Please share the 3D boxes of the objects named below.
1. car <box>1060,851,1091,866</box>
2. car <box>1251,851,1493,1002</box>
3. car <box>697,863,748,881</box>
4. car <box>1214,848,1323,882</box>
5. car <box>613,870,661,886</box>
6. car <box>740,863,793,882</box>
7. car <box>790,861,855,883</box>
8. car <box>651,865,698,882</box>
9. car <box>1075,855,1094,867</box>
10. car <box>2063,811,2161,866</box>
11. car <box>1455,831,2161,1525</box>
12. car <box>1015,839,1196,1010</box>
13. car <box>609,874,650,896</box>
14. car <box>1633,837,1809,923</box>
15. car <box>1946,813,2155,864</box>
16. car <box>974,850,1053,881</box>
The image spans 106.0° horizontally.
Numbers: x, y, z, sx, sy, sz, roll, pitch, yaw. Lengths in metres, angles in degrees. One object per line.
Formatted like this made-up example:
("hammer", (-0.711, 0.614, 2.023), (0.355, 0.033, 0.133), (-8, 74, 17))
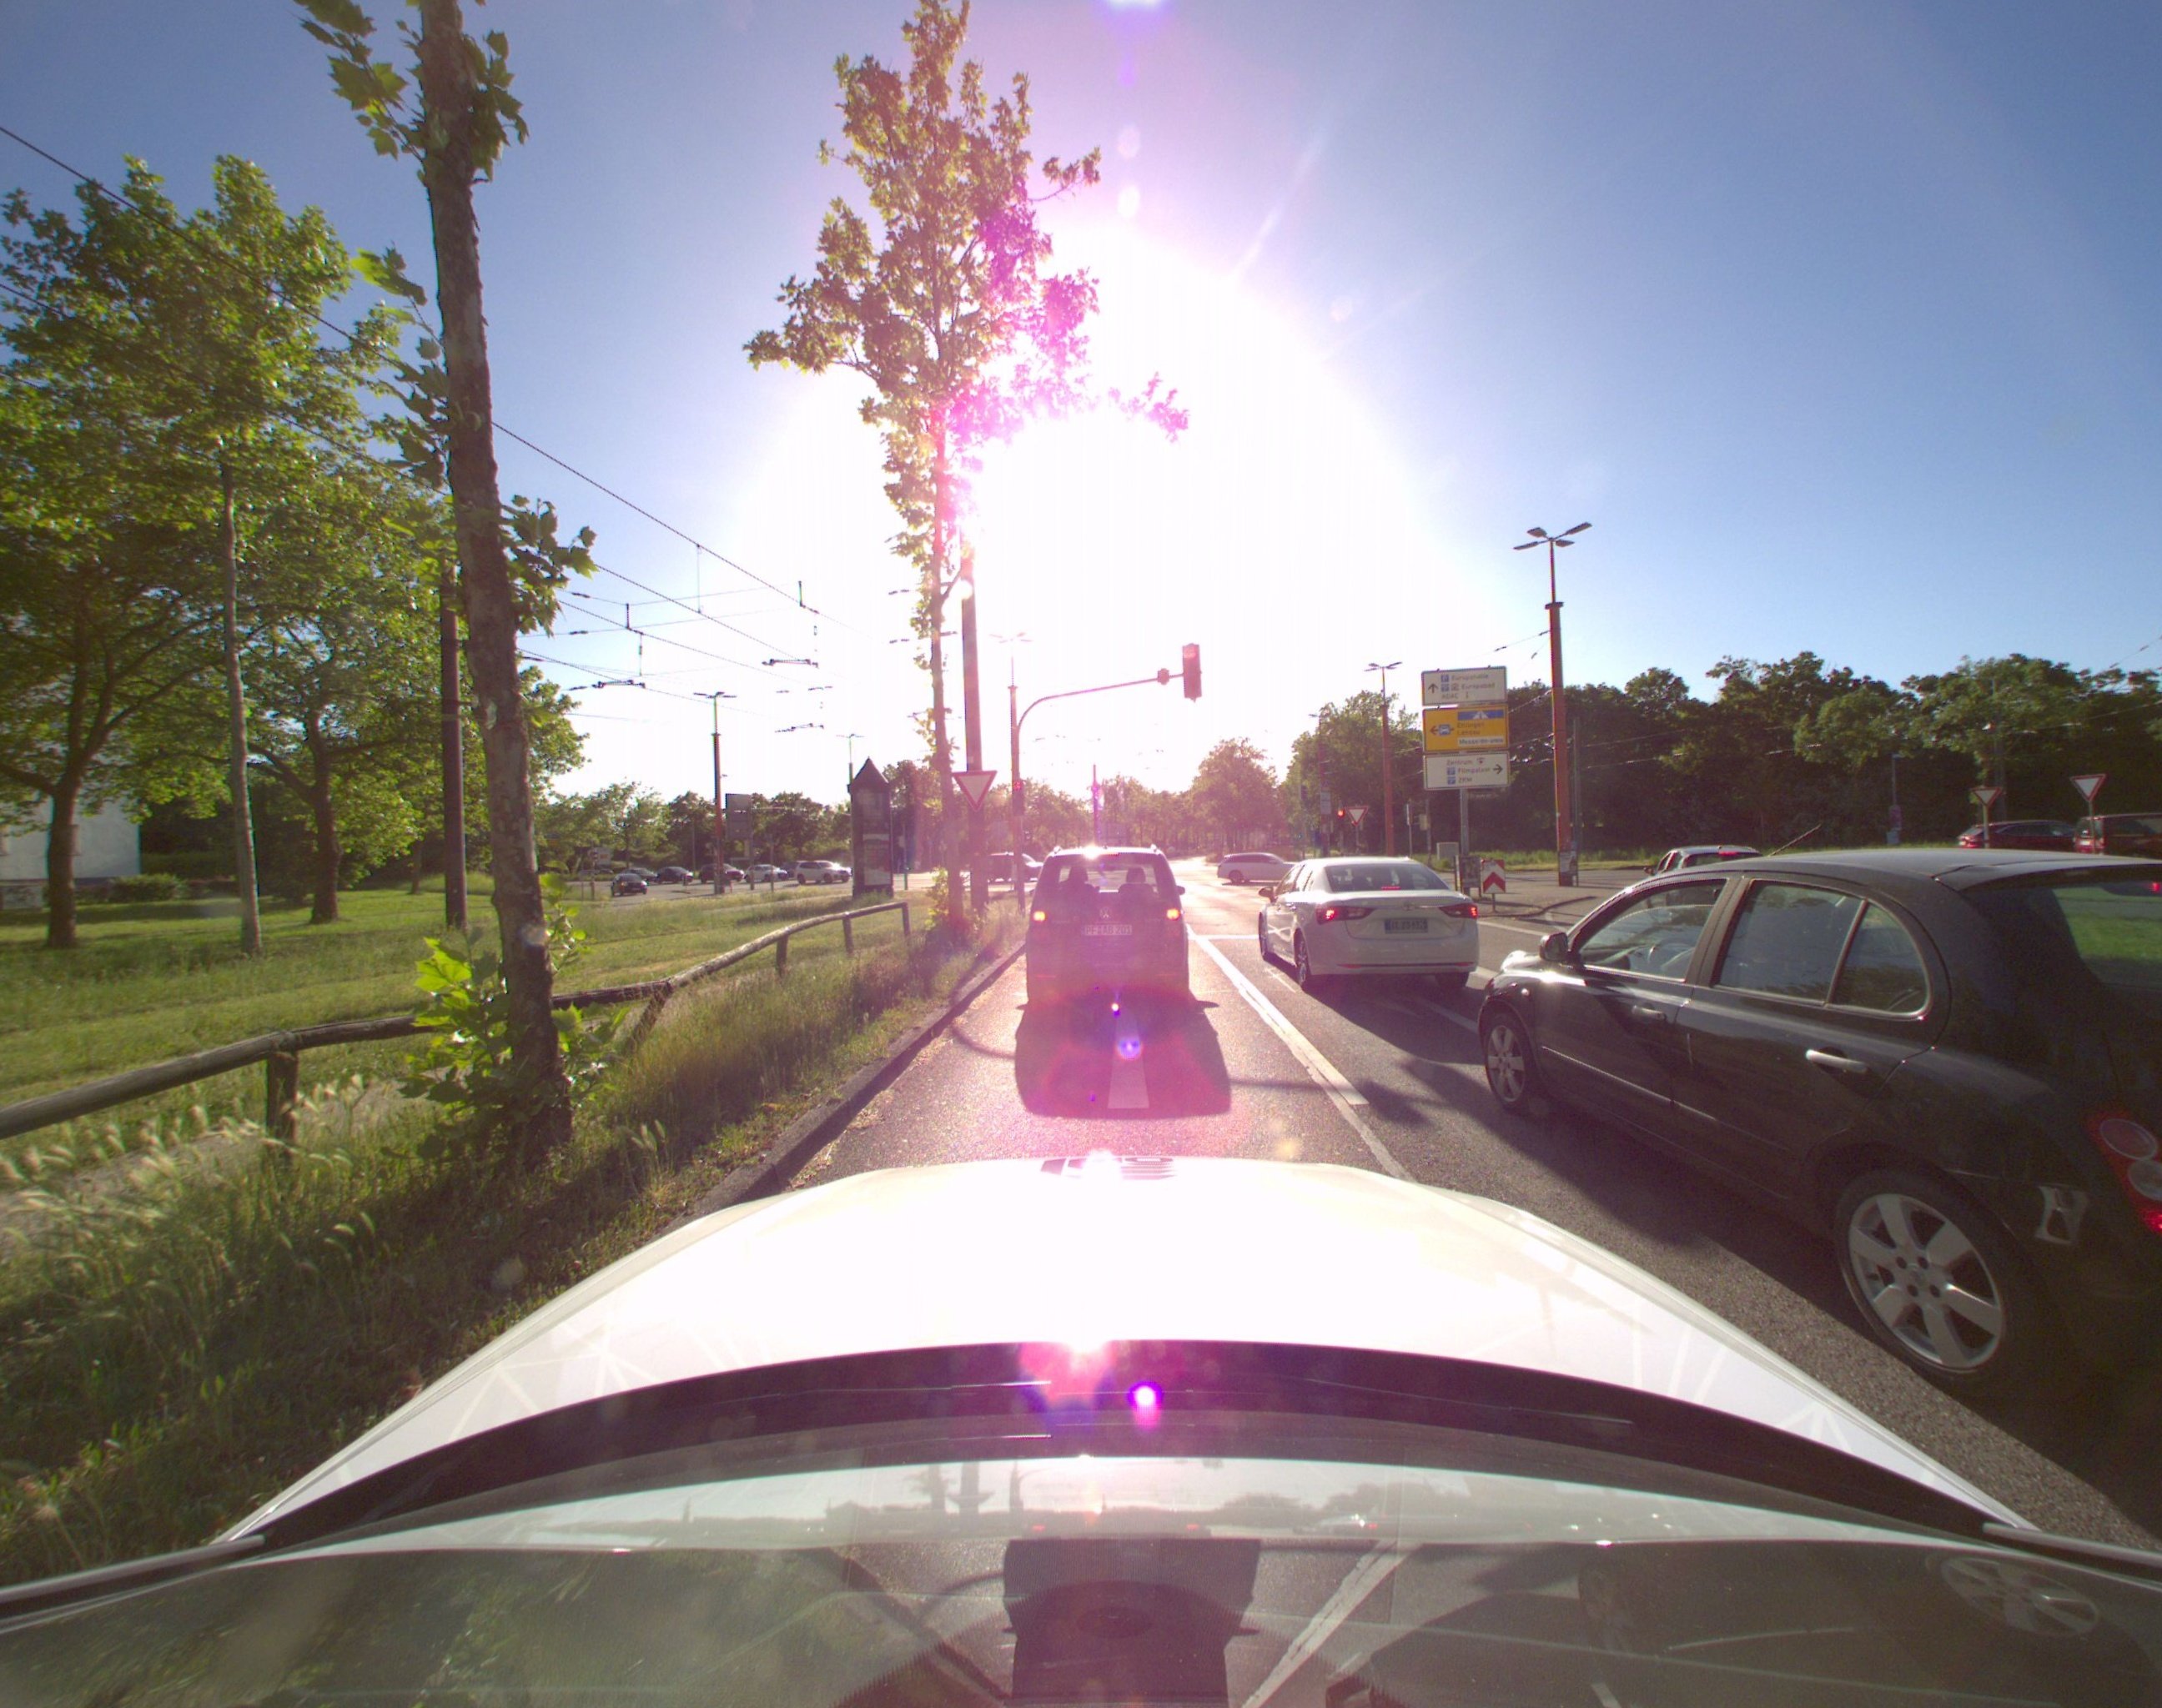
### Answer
("car", (-0.604, 0.496, 93.609), (1.977, 1.684, 4.853), (-2, 0, 20))
("car", (3.302, 0.718, 10.125), (1.708, 1.454, 4.147), (-2, 0, 3))
("car", (-31.716, 1.568, 72.078), (4.318, 1.464, 1.926), (-2, 0, 29))
("car", (9.271, 0.557, 40.384), (4.867, 1.575, 2.013), (-2, 0, 30))
("car", (-42.346, 2.283, 77.651), (4.187, 1.464, 1.926), (-2, 0, 28))
("car", (-26.768, 1.590, 69.258), (4.169, 1.464, 1.926), (-2, 0, 29))
("car", (-19.459, 1.357, 61.291), (4.735, 1.598, 1.926), (-2, 0, 29))
("car", (-37.351, 1.773, 74.847), (4.004, 1.464, 1.926), (-2, 0, 28))
("car", (0.526, 0.974, 115.387), (1.981, 1.684, 4.841), (-2, 0, 9))
("car", (35.041, -0.527, 26.003), (4.302, 1.732, 1.854), (-2, 0, 29))
("car", (3.173, 0.693, 3.521), (1.550, 1.506, 3.517), (-2, 0, 2))
("car", (0.301, 0.695, 9.997), (1.731, 1.641, 4.002), (-2, 0, 2))
("car", (-31.099, 2.091, 56.053), (1.836, 1.420, 3.714), (-1, 0, -40))
("car", (12.336, 0.451, 15.991), (1.730, 1.469, 3.914), (-2, 0, 23))
("car", (35.061, -0.524, 29.674), (4.506, 1.668, 1.854), (-2, 0, 31))
("car", (-4.372, 0.745, 52.370), (4.735, 1.836, 1.926), (-2, 0, 29))
